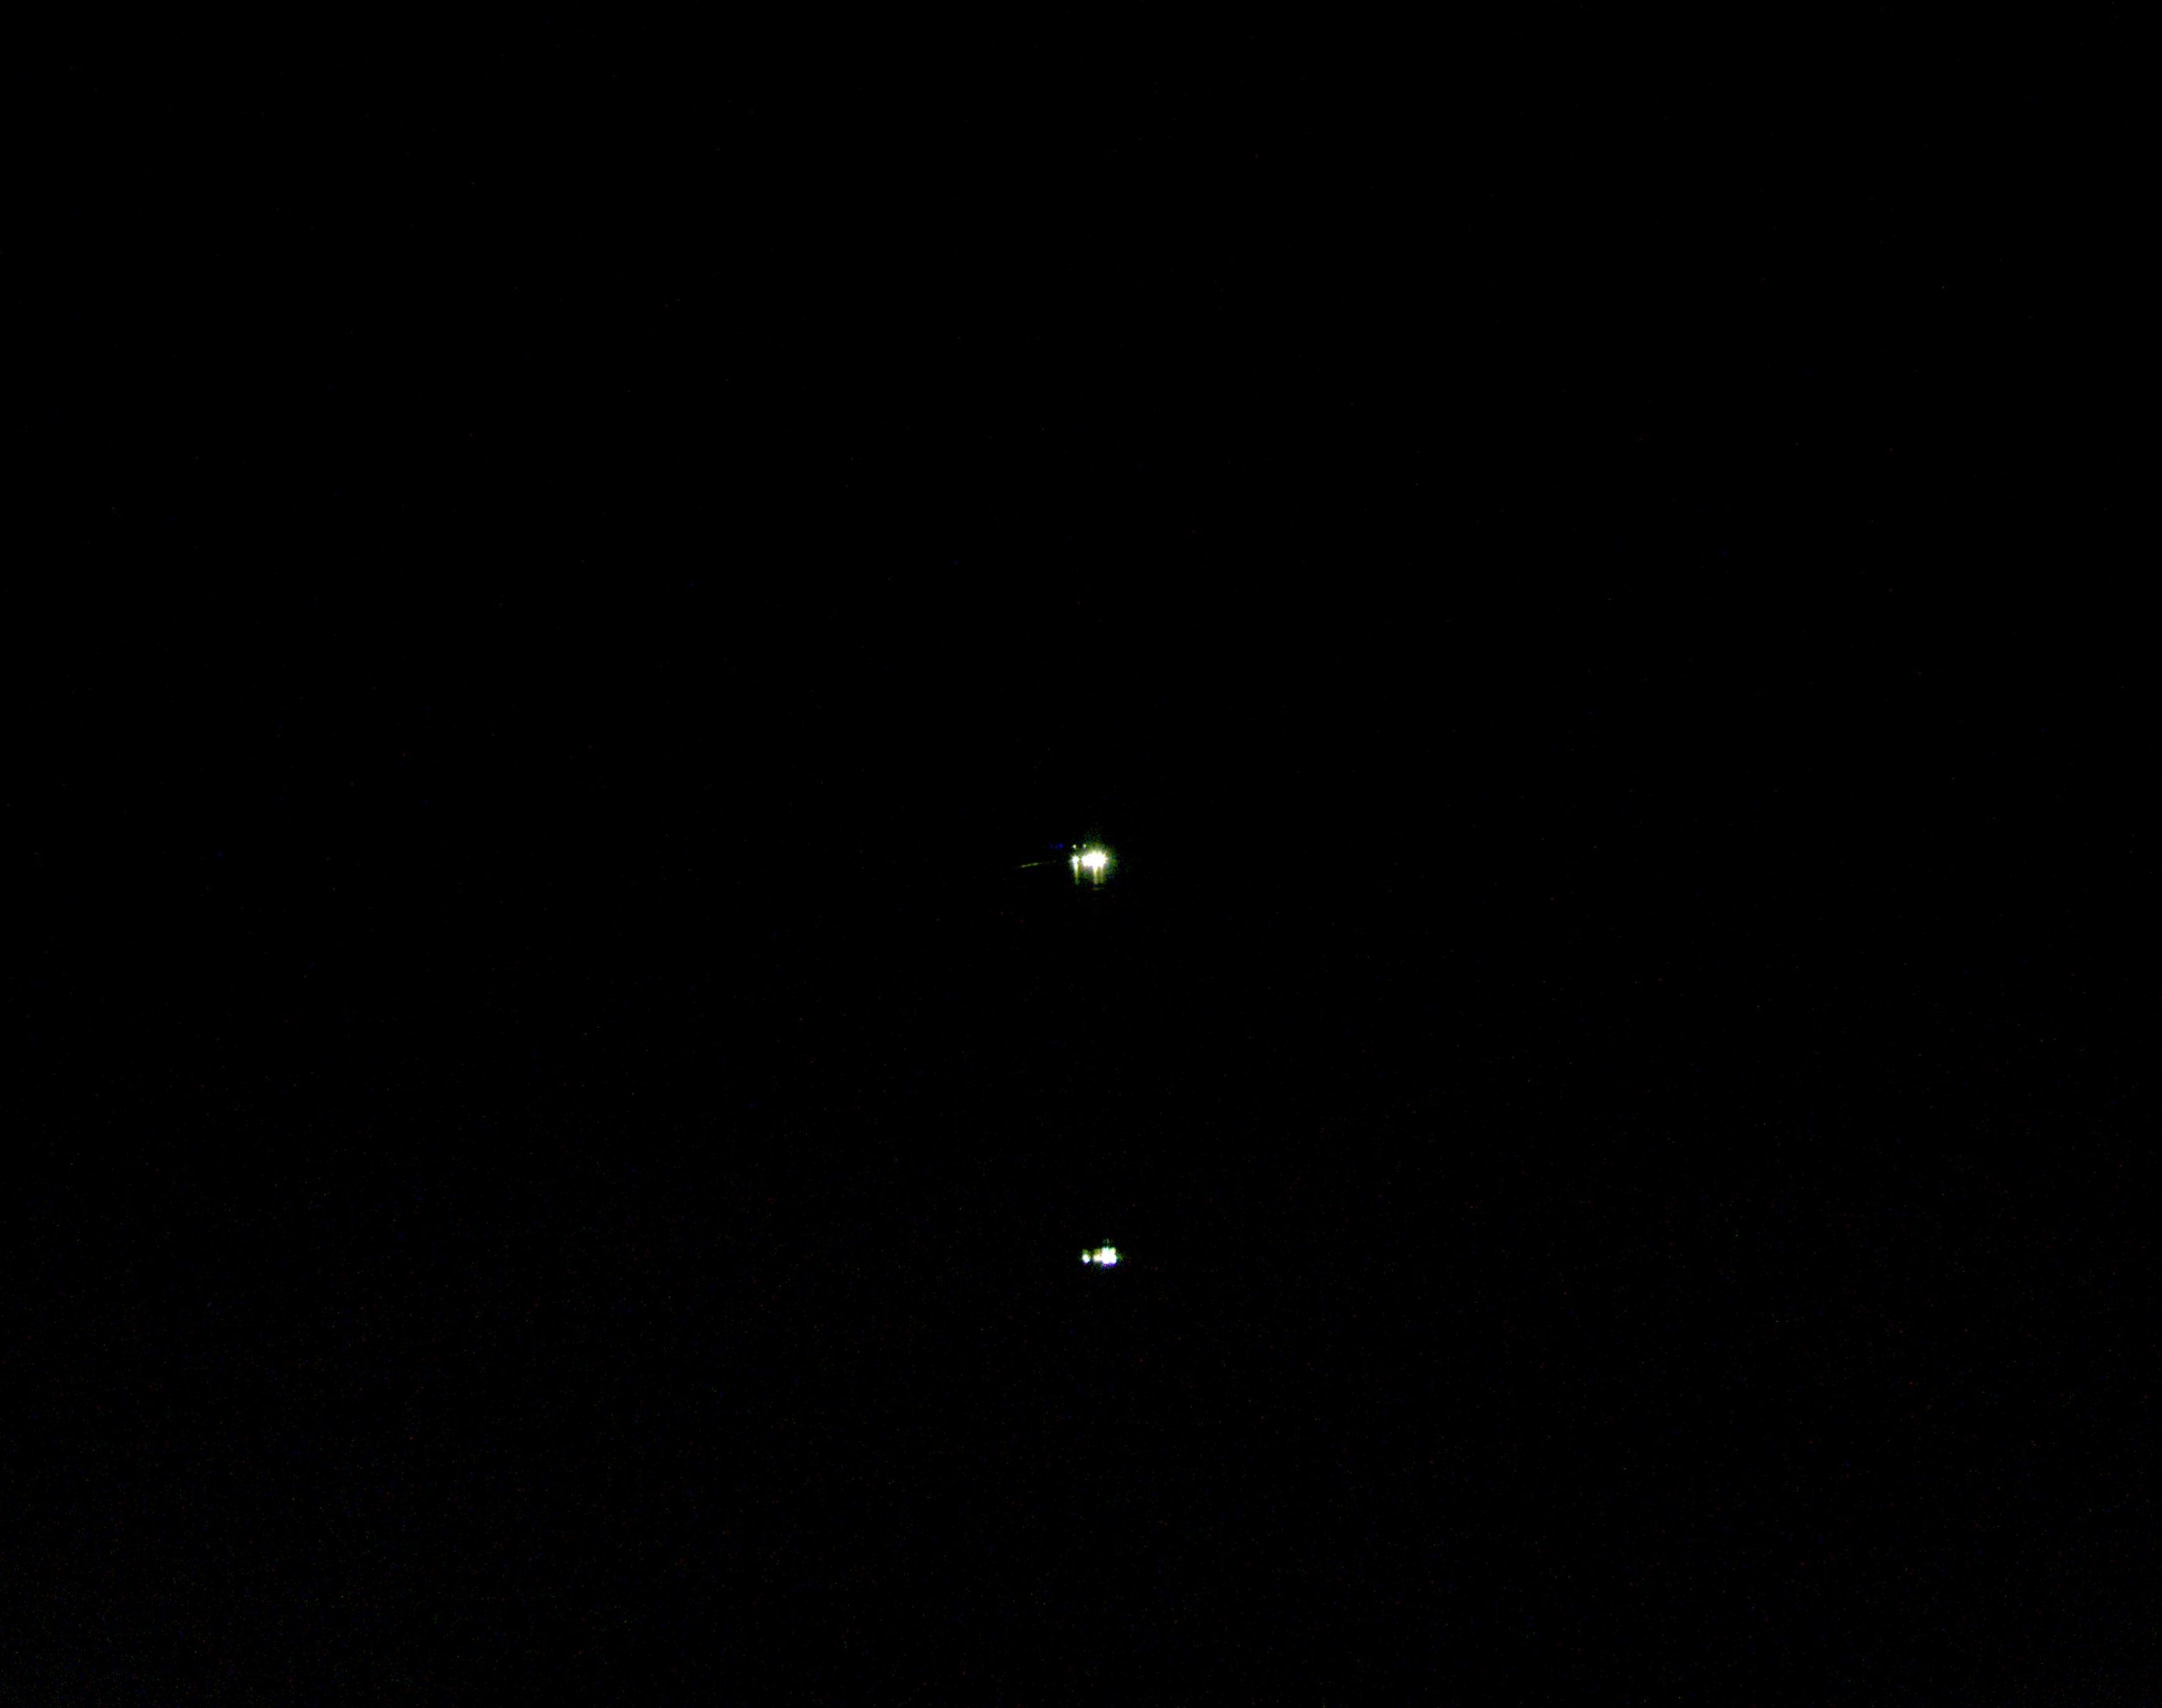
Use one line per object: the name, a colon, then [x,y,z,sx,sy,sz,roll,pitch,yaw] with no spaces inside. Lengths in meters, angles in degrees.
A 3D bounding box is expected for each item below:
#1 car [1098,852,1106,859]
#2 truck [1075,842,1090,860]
car: [4.975,0.331,180.091,1.845,1.475,4.293,-3,0,3]
truck: [0.345,-0.664,174.538,3.003,3.876,12.889,-3,0,1]
